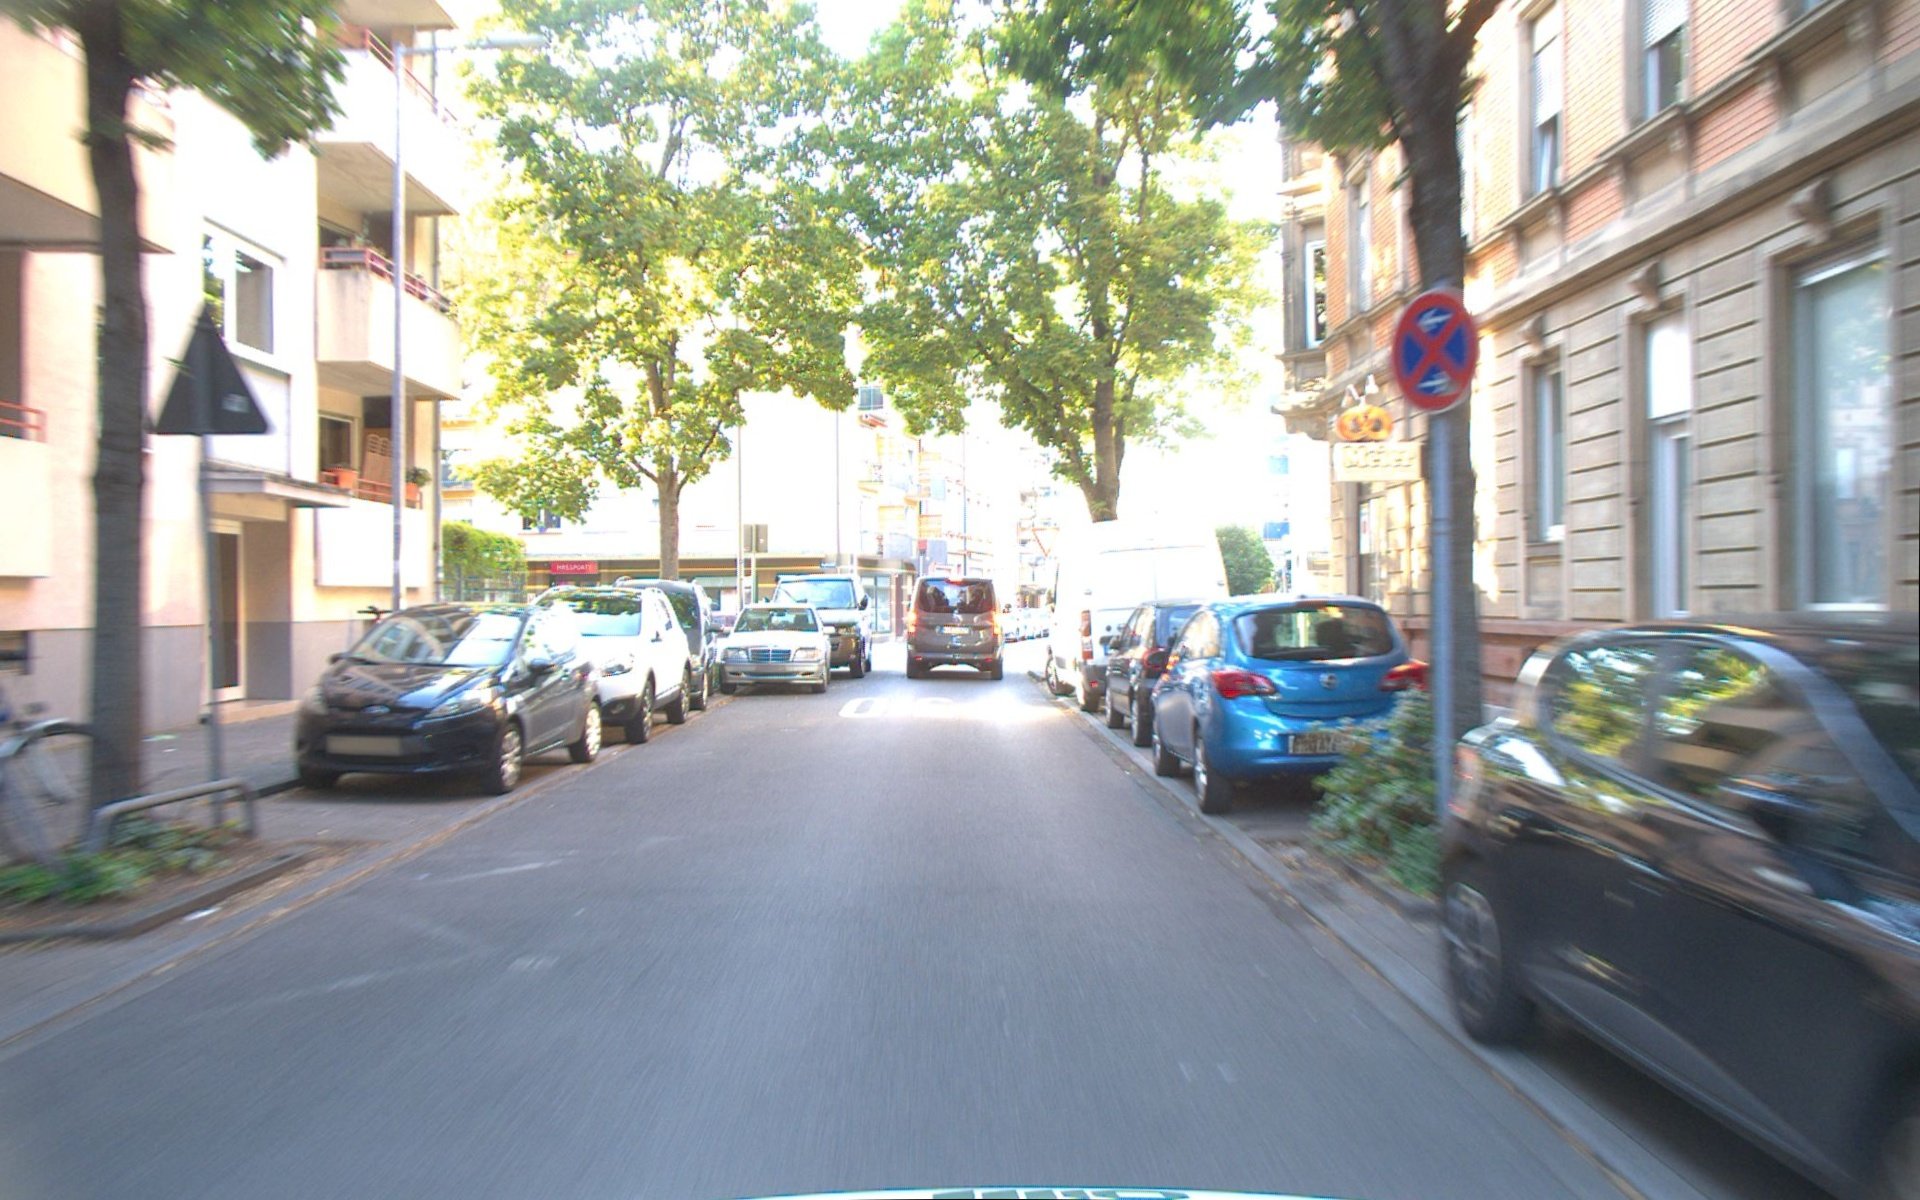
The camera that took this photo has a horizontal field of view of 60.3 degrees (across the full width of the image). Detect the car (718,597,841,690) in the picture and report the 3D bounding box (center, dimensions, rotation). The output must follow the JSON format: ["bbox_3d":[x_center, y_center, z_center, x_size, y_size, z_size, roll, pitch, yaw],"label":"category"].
[{"bbox_3d":[-2.945,0.679,27.601,1.706,1.428,3.374,-1,0,-1],"label":"car"}]

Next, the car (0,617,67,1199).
[{"bbox_3d":[-2.581,0.782,1.585,1.597,1.455,3.541,-1,0,-2],"label":"car"}]

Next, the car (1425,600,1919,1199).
[{"bbox_3d":[2.644,0.730,4.140,1.681,1.428,3.811,-1,0,-3],"label":"car"}]

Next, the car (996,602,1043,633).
[{"bbox_3d":[2.965,0.840,81.207,1.757,1.445,3.751,0,0,11],"label":"car"}]

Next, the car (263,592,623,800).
[{"bbox_3d":[-4.232,0.704,14.193,1.703,1.510,3.840,1,0,3],"label":"car"}]

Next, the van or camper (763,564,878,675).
[{"bbox_3d":[-2.685,0.354,32.708,1.824,2.018,4.271,-1,0,1],"label":"van or camper"}]

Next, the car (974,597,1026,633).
[{"bbox_3d":[1.854,0.682,75.573,1.757,1.606,3.751,0,0,11],"label":"car"}]

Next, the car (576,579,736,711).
[{"bbox_3d":[-4.305,0.596,23.853,1.706,1.742,3.374,1,0,-1],"label":"car"}]

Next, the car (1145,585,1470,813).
[{"bbox_3d":[2.509,0.650,12.821,1.714,1.497,3.775,0,0,0],"label":"car"}]

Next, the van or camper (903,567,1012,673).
[{"bbox_3d":[0.004,0.362,32.449,1.993,1.930,4.271,0,0,1],"label":"van or camper"}]

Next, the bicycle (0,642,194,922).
[{"bbox_3d":[-4.555,0.824,7.551,0.595,1.216,1.817,2,1,44],"label":"bicycle"}]

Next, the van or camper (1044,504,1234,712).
[{"bbox_3d":[2.425,0.092,23.801,1.953,2.644,5.422,0,0,-2],"label":"van or camper"}]

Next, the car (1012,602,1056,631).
[{"bbox_3d":[3.855,0.860,85.928,1.757,1.445,3.751,0,0,11],"label":"car"}]

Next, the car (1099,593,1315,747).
[{"bbox_3d":[2.581,0.681,18.078,1.715,1.497,3.775,0,0,-1],"label":"car"}]

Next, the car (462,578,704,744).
[{"bbox_3d":[-4.183,0.621,19.029,1.858,1.665,4.155,1,0,-1],"label":"car"}]
